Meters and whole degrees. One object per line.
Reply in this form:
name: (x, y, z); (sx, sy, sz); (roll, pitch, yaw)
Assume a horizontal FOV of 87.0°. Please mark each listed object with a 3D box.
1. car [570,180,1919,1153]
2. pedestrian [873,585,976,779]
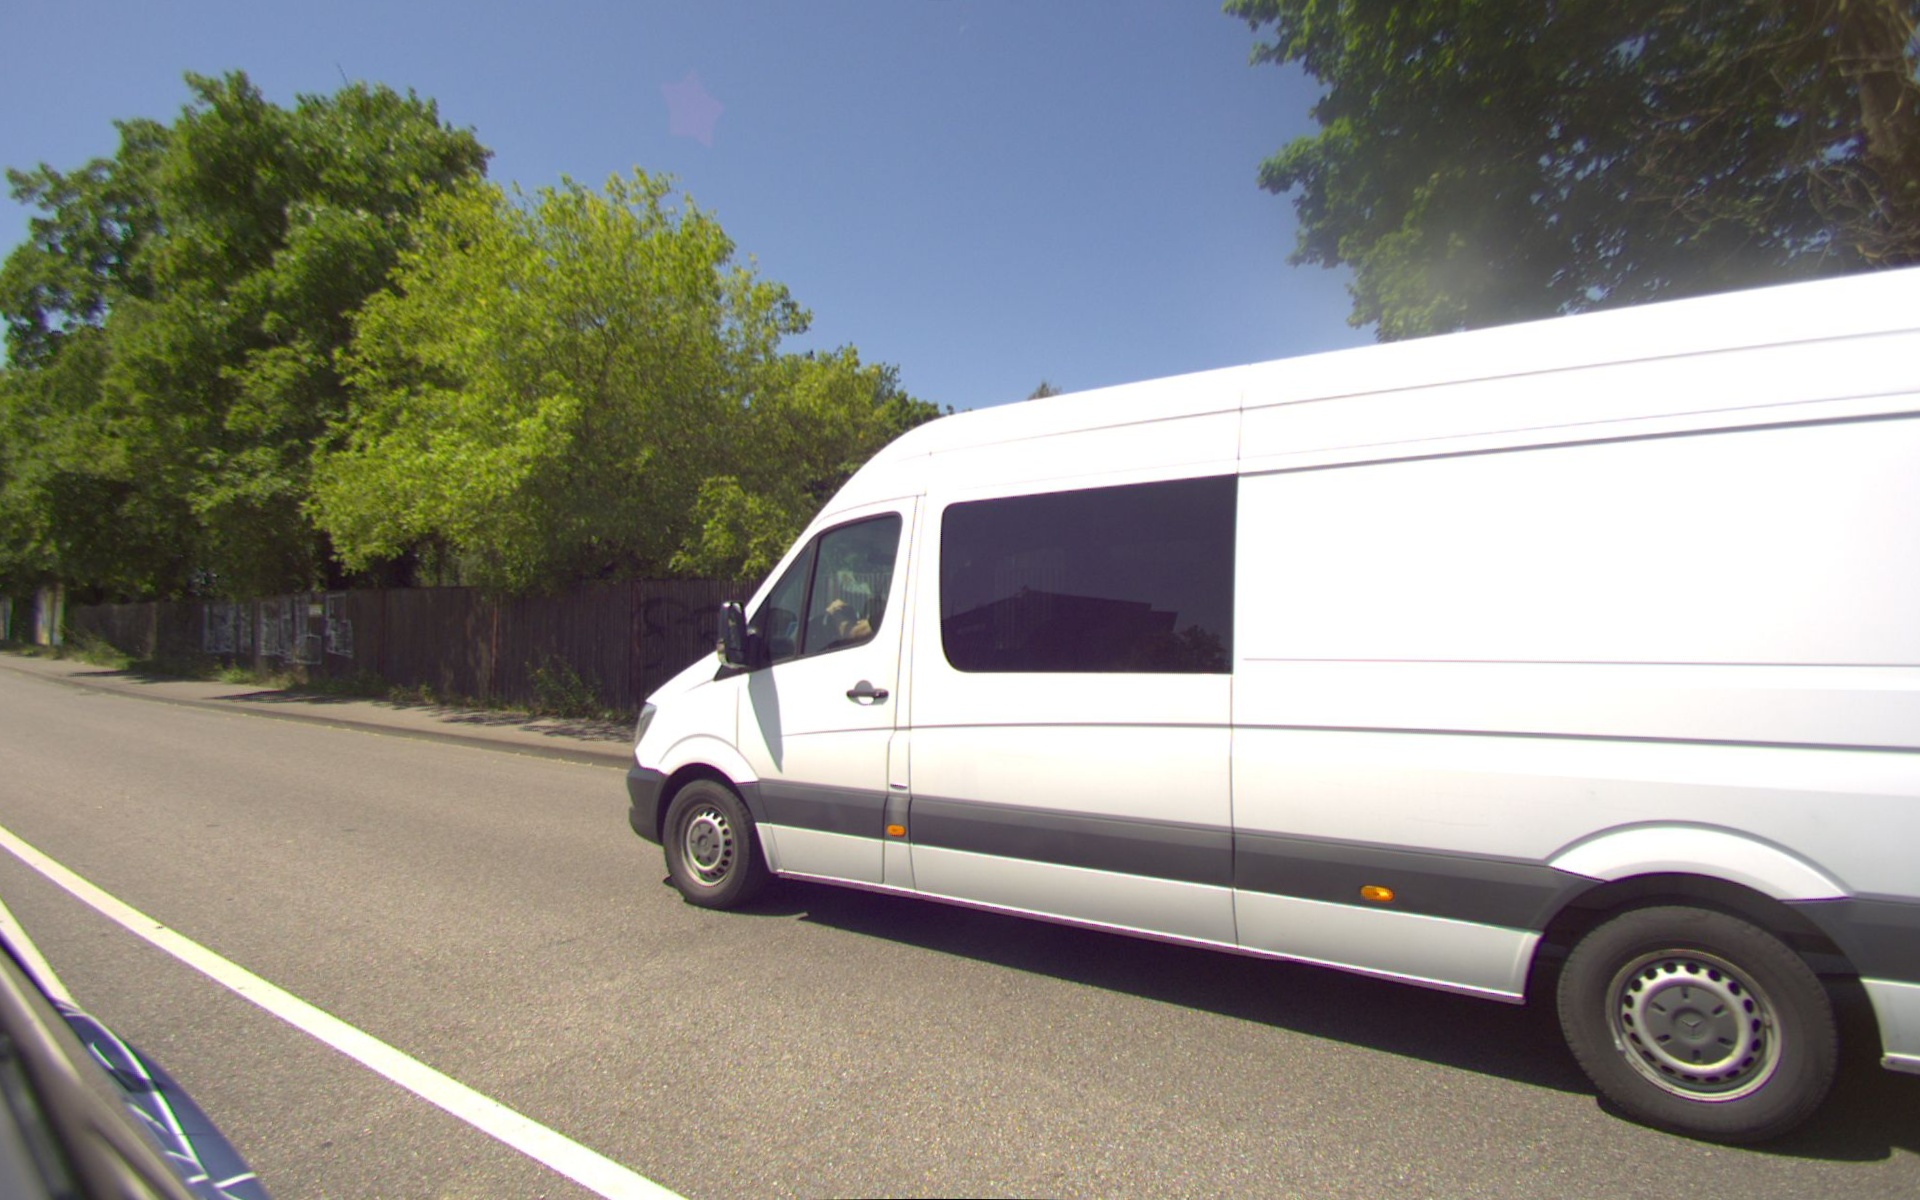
car: (1.174, 0.219, 4.760); (6.808, 2.558, 2.003); (-1, -2, 33)
pedestrian: (-0.357, 0.787, 10.131); (0.850, 1.838, 0.586); (-1, -1, 41)
